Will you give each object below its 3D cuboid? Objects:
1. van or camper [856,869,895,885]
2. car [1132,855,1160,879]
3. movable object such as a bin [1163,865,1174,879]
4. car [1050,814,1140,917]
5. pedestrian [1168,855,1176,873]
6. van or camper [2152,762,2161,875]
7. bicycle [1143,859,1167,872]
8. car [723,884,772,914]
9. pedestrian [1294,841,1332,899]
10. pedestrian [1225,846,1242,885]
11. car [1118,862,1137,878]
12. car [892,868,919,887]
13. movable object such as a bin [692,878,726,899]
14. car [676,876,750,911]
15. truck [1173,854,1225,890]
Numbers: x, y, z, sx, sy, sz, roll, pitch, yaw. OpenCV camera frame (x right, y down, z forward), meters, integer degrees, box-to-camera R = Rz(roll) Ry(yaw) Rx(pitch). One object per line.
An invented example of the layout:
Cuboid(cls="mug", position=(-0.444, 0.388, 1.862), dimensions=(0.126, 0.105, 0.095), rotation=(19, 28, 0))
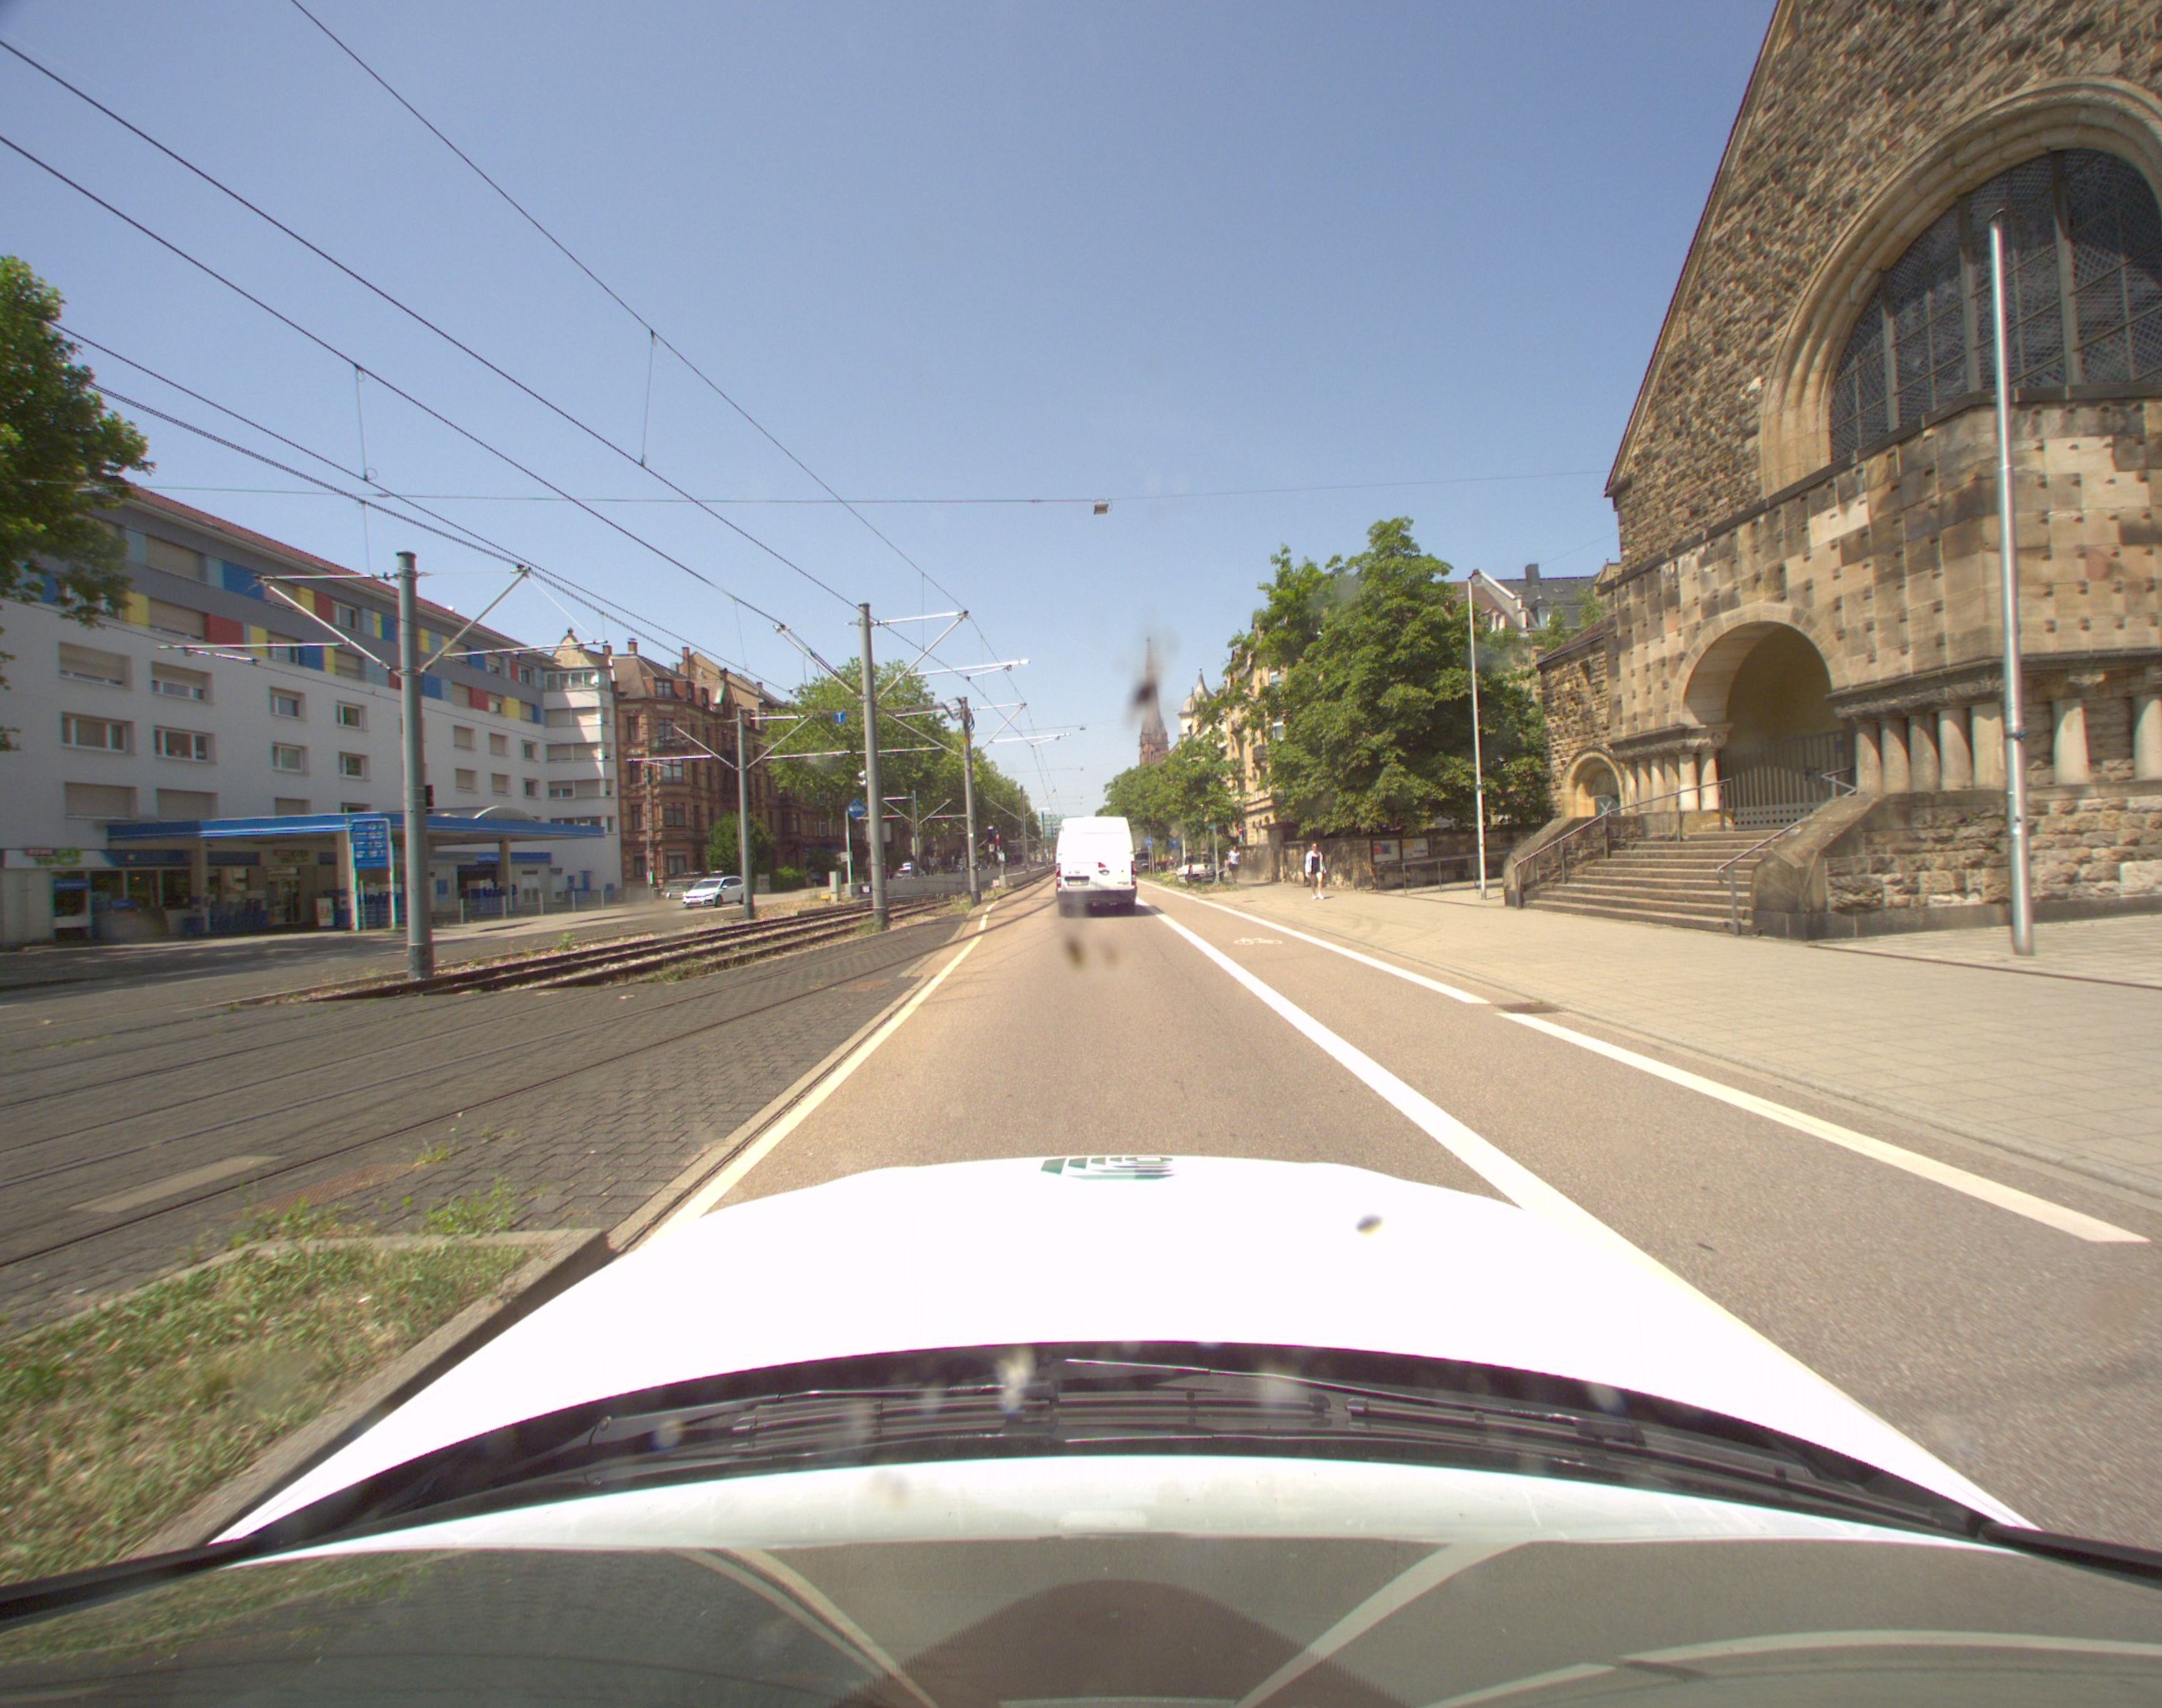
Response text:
Cuboid(cls="van or camper", position=(-27.715, 3.101, 109.933), dimensions=(4.521, 1.837, 1.935), rotation=(-3, -1, 5))
Cuboid(cls="car", position=(5.498, 1.081, 69.180), dimensions=(1.873, 1.947, 4.836), rotation=(-3, 0, 0))
Cuboid(cls="movable object such as a bin", position=(6.682, 1.406, 62.421), dimensions=(0.783, 1.014, 0.651), rotation=(-2, -1, 6))
Cuboid(cls="car", position=(0.320, 0.310, 22.574), dimensions=(2.111, 2.459, 5.052), rotation=(-2, -1, -1))
Cuboid(cls="pedestrian", position=(7.992, 0.867, 71.743), dimensions=(0.550, 1.598, 0.728), rotation=(-2, -1, 2))
Cuboid(cls="van or camper", position=(11.914, -0.090, 6.651), dimensions=(3.976, 1.825, 1.802), rotation=(-4, -1, -2))
Cuboid(cls="bicycle", position=(5.936, 0.914, 65.270), dimensions=(1.881, 0.991, 0.469), rotation=(-2, -1, -10))
Cuboid(cls="car", position=(-21.626, 2.882, 52.999), dimensions=(1.649, 1.684, 3.705), rotation=(-2, -1, -1))
Cuboid(cls="pedestrian", position=(6.810, 0.466, 23.953), dimensions=(0.791, 1.650, 0.967), rotation=(-2, -1, 1))
Cuboid(cls="pedestrian", position=(7.173, 0.539, 38.208), dimensions=(0.619, 1.755, 0.678), rotation=(-2, -1, 1))
Cuboid(cls="car", position=(4.739, 1.667, 83.776), dimensions=(1.662, 1.530, 4.012), rotation=(-3, -1, 0))
Cuboid(cls="car", position=(-18.938, 2.483, 88.138), dimensions=(1.988, 1.904, 4.714), rotation=(-2, -1, -2))
Cuboid(cls="movable object such as a bin", position=(-27.781, 2.571, 60.873), dimensions=(1.778, 1.385, 1.468), rotation=(-3, 0, -2))
Cuboid(cls="car", position=(-20.138, 2.105, 44.819), dimensions=(1.841, 1.625, 4.602), rotation=(-4, -1, 1))
Cuboid(cls="truck", position=(5.481, 0.815, 38.375), dimensions=(1.783, 1.526, 4.465), rotation=(-2, -1, 0))
